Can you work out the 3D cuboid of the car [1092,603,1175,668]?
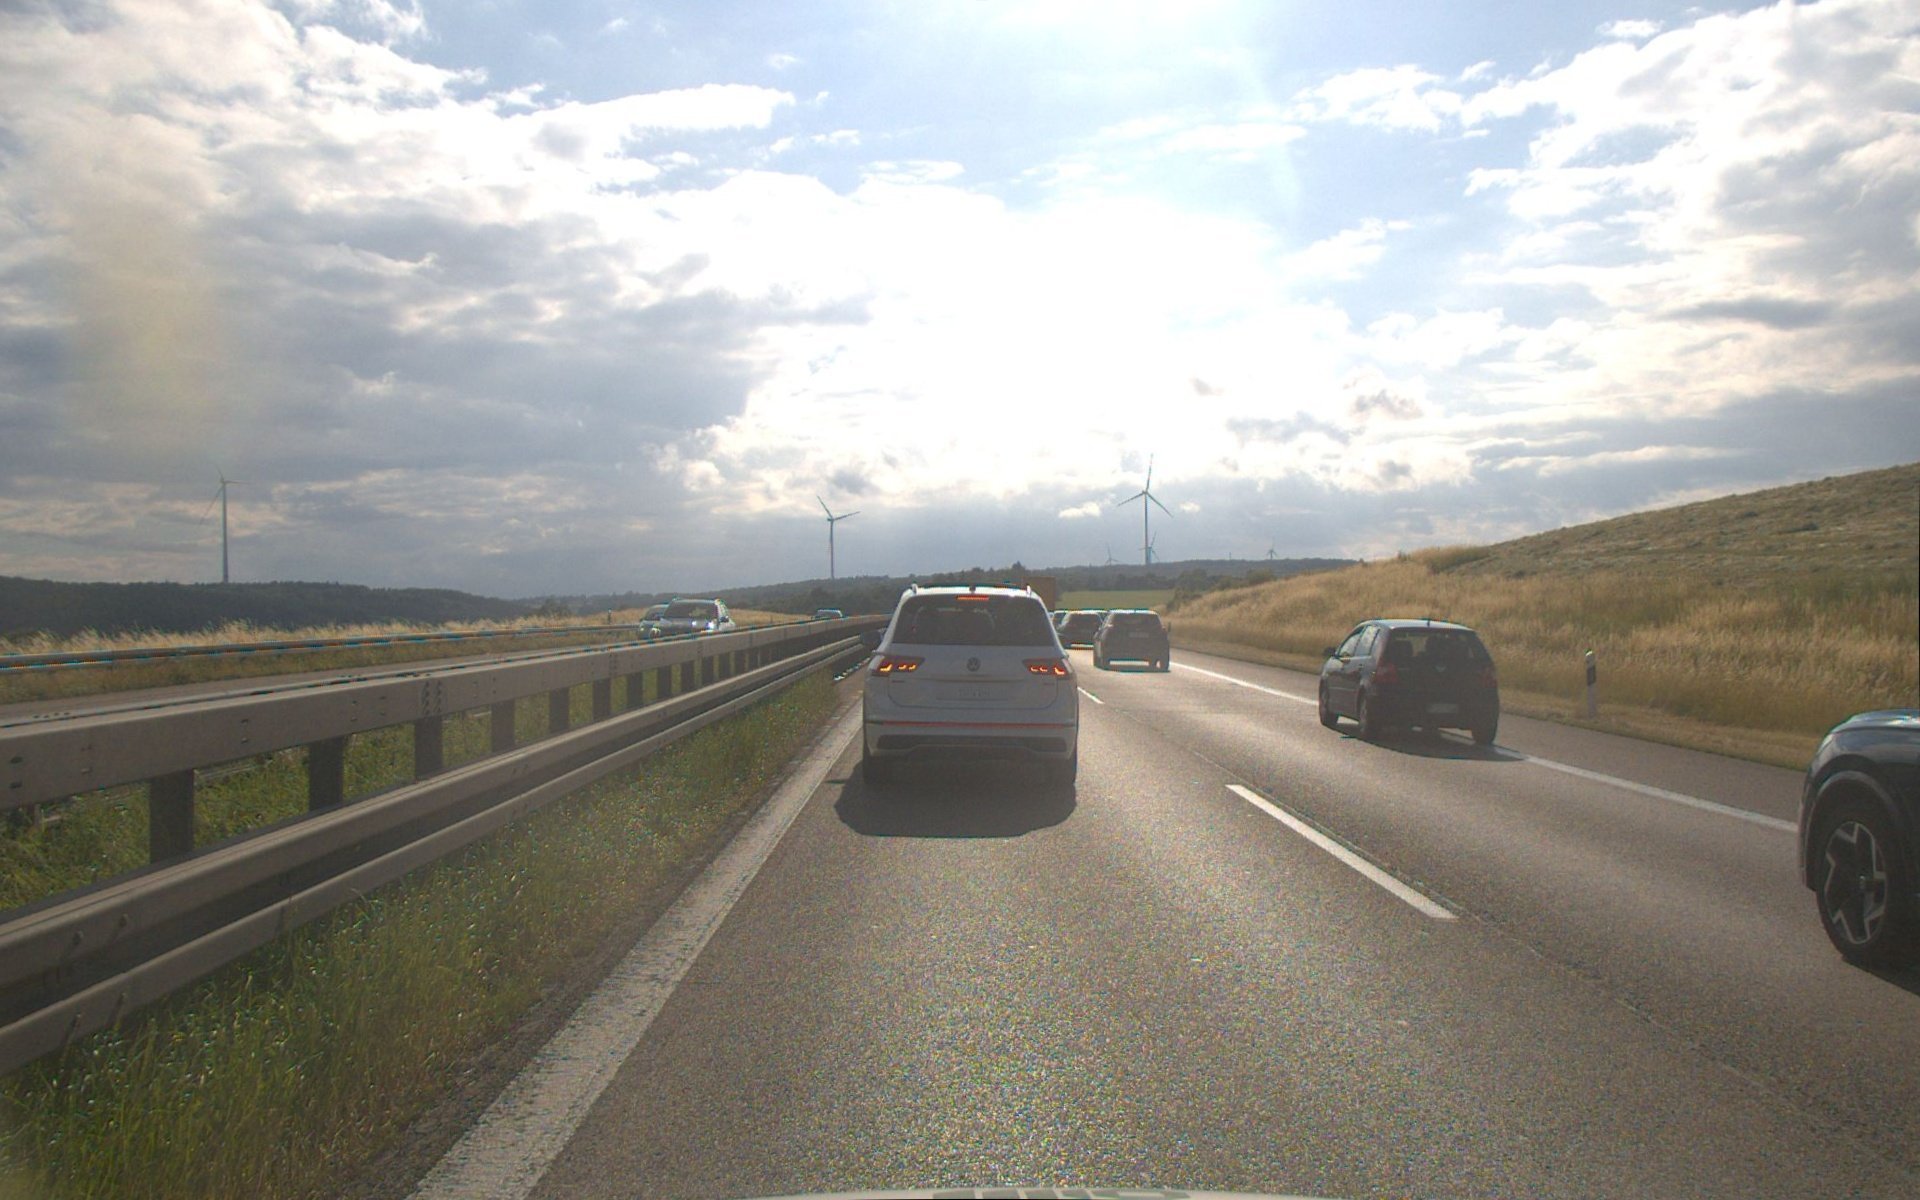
[{"bbox_3d":[4.438,0.893,42.751,1.669,1.573,3.999,1,-1,-1],"label":"car"}]

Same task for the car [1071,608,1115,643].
[{"bbox_3d":[6.212,1.179,77.592,1.669,1.573,3.999,1,-1,-1],"label":"car"}]

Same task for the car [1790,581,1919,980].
[{"bbox_3d":[4.834,0.760,5.704,1.784,1.629,4.234,2,-1,0],"label":"car"}]

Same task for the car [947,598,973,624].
[{"bbox_3d":[0.008,0.747,108.389,1.669,1.679,3.999,1,-1,-1],"label":"car"}]

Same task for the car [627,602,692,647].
[{"bbox_3d":[-11.205,0.902,61.869,1.699,1.616,4.116,1,-1,-1],"label":"car"}]

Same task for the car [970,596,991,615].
[{"bbox_3d":[1.700,0.461,138.552,1.669,1.573,3.999,1,-1,-1],"label":"car"}]

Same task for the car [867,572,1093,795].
[{"bbox_3d":[0.142,0.668,14.829,1.734,1.705,3.999,1,-1,-1],"label":"car"}]

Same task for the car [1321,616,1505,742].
[{"bbox_3d":[5.667,0.934,21.079,1.572,1.445,3.674,1,-1,4],"label":"car"}]

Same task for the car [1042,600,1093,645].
[{"bbox_3d":[4.120,0.871,63.908,1.669,1.679,3.999,1,-1,-1],"label":"car"}]

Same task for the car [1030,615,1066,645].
[{"bbox_3d":[4.641,1.581,87.770,1.669,1.573,3.999,1,-1,-1],"label":"car"}]

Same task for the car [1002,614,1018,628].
[{"bbox_3d":[5.696,2.363,188.228,1.669,1.573,3.999,1,-1,-1],"label":"car"}]

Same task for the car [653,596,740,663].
[{"bbox_3d":[-7.403,0.815,46.869,1.786,1.801,4.362,1,-1,-1],"label":"car"}]

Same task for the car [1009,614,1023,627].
[{"bbox_3d":[7.283,2.670,216.188,1.669,1.573,3.999,1,-1,-1],"label":"car"}]

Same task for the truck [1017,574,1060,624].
[{"bbox_3d":[6.063,-0.094,129.185,3.118,3.657,11.132,1,0,1],"label":"truck"}]
